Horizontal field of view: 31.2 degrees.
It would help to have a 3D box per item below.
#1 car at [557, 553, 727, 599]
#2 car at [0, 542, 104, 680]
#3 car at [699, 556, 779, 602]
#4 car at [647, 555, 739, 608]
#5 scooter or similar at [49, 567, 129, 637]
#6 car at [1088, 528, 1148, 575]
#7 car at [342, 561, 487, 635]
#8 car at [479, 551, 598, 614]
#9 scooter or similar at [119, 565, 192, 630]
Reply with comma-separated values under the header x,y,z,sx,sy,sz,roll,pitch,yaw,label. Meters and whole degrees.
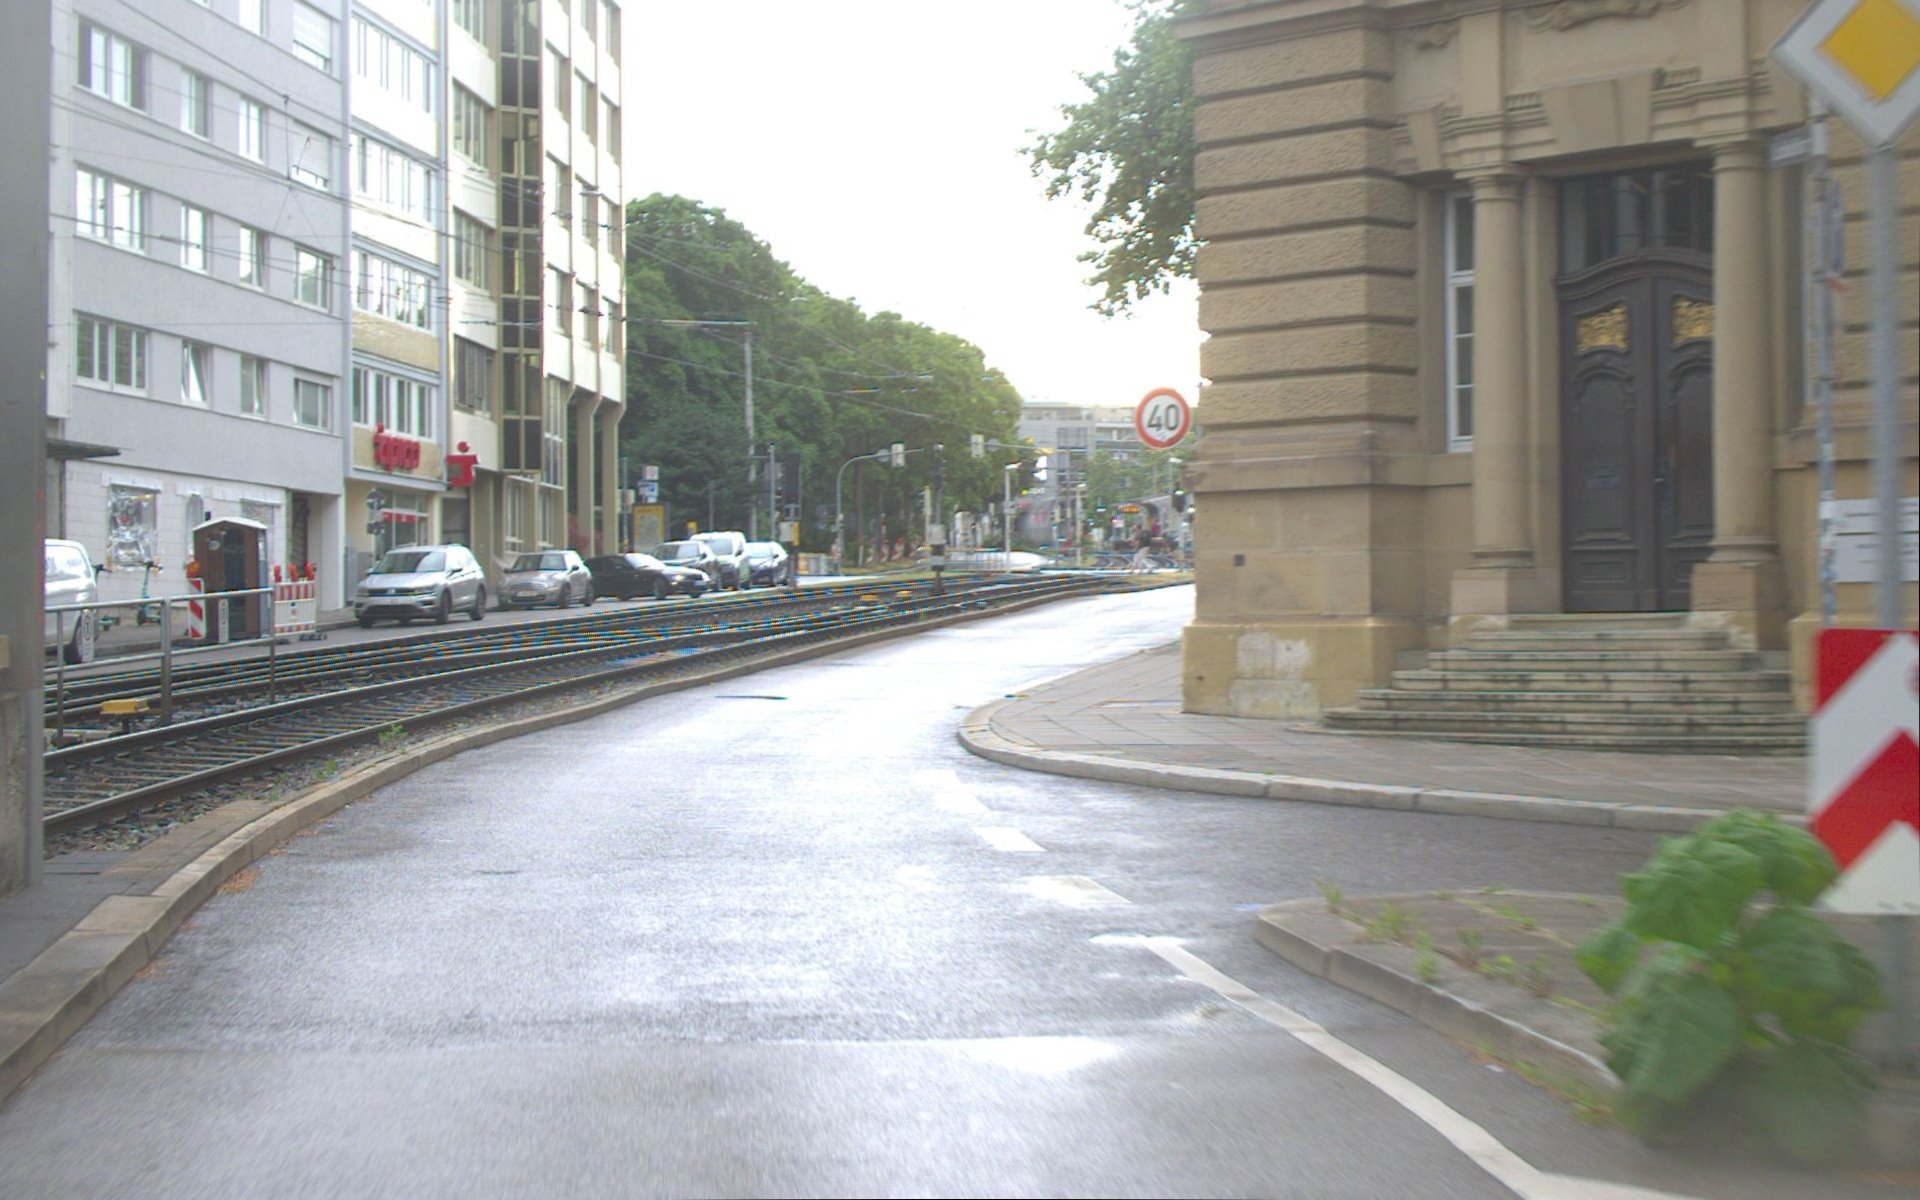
x,y,z,sx,sy,sz,roll,pitch,yaw,label
-8.476,-0.634,91.482,4.307,1.159,1.995,1,1,39,car
-13.922,0.122,48.692,1.994,1.876,4.926,1,0,5,car
-7.167,-0.680,111.954,1.994,1.451,4.310,1,0,5,car
-7.681,-0.537,99.274,1.994,1.451,4.310,1,0,5,car
-15.665,0.026,61.878,0.765,1.215,2.065,1,0,5,scooter or similar
5.760,-1.770,125.146,1.994,1.656,3.999,1,0,5,car
-11.251,-0.062,71.166,1.994,1.451,4.310,1,0,5,car
-10.182,-0.431,83.343,1.994,1.451,4.310,1,0,5,car
-15.432,-0.048,65.984,0.765,1.215,2.065,1,0,5,scooter or similar
